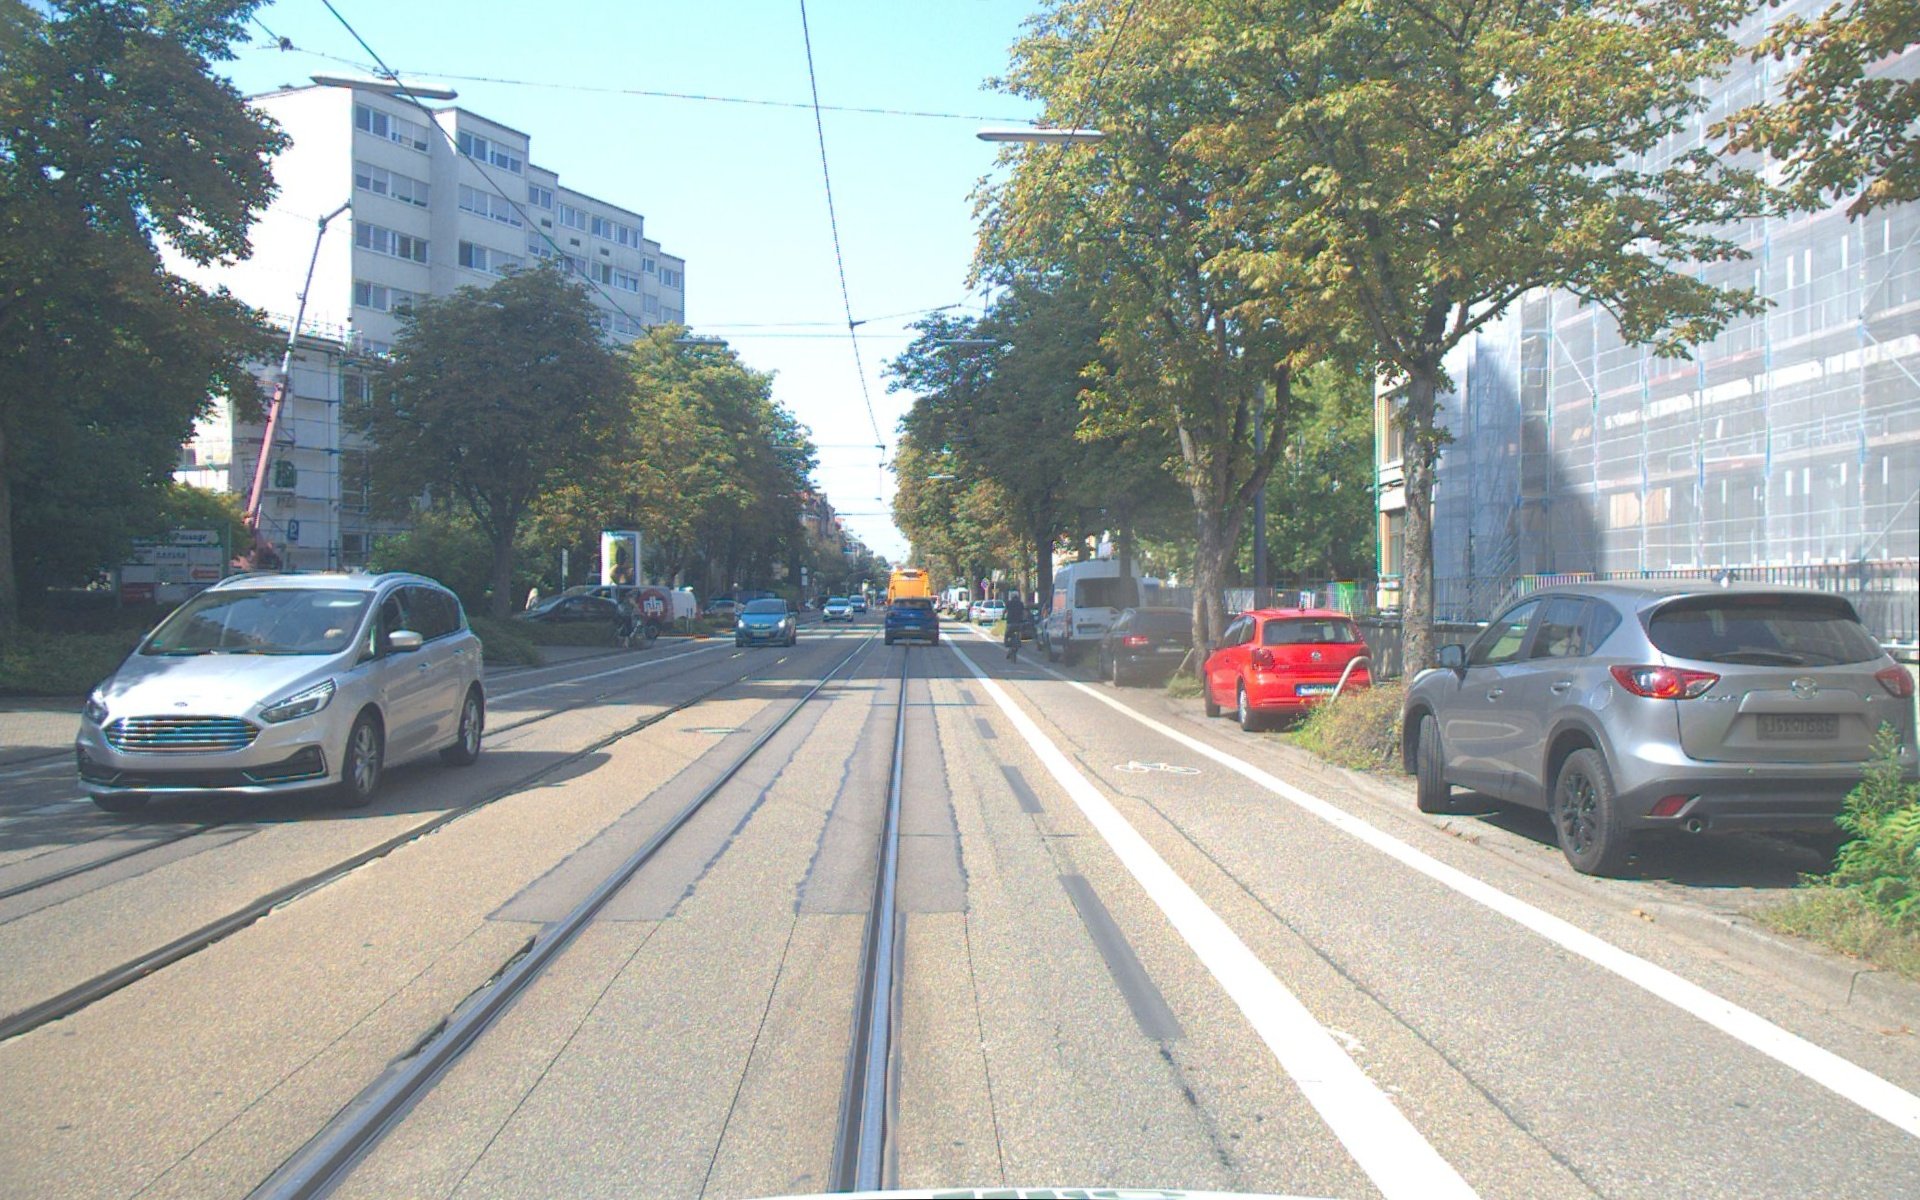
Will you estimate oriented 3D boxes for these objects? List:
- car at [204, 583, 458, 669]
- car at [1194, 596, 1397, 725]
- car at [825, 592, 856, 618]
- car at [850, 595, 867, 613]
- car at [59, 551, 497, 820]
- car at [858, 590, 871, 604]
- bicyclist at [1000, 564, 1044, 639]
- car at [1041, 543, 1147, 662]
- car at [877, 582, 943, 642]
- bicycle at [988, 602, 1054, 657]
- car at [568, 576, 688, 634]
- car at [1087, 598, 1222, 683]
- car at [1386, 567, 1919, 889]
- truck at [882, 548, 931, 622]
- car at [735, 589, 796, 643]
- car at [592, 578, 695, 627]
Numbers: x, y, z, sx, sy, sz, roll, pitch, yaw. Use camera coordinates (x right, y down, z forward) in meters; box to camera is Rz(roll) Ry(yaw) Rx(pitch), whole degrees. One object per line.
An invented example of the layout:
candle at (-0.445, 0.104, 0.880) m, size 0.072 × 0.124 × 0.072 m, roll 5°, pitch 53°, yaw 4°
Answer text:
car at (-12.291, 0.498, 32.346) m, size 4.512 × 1.580 × 1.984 m, roll 1°, pitch 0°, yaw -26°
car at (4.221, 0.710, 21.356) m, size 1.705 × 1.488 × 3.682 m, roll 1°, pitch 0°, yaw -3°
car at (-7.627, 0.323, 105.478) m, size 1.861 × 1.589 × 4.120 m, roll 1°, pitch 0°, yaw -3°
car at (-10.112, 0.398, 164.874) m, size 1.594 × 1.734 × 3.998 m, roll 1°, pitch 0°, yaw -3°
car at (-4.995, 0.543, 12.832) m, size 1.744 × 1.713 × 4.345 m, roll 1°, pitch 0°, yaw -3°
car at (-12.972, -0.378, 224.410) m, size 1.712 × 1.828 × 3.998 m, roll 1°, pitch 0°, yaw -3°
bicyclist at (1.535, 0.027, 41.249) m, size 1.011 × 1.844 × 1.016 m, roll 1°, pitch 0°, yaw -2°
car at (3.315, 0.041, 42.063) m, size 1.954 × 2.804 × 5.758 m, roll 1°, pitch 0°, yaw -3°
car at (-1.644, 0.364, 55.096) m, size 2.092 × 1.891 × 5.566 m, roll 0°, pitch 0°, yaw -2°
bicycle at (1.493, 0.709, 41.251) m, size 1.373 × 1.154 × 3.999 m, roll 0°, pitch 2°, yaw -2°
car at (-12.054, 0.191, 60.173) m, size 1.826 × 2.049 × 3.971 m, roll 1°, pitch 0°, yaw 45°
car at (3.618, 0.718, 31.478) m, size 1.870 × 1.456 × 4.290 m, roll 1°, pitch 0°, yaw -3°
car at (4.333, 0.671, 10.976) m, size 1.705 × 1.697 × 4.359 m, roll 1°, pitch 0°, yaw -3°
truck at (-2.386, -0.682, 74.554) m, size 2.092 × 3.179 × 6.083 m, roll 0°, pitch 0°, yaw -2°
car at (-6.099, 0.478, 52.187) m, size 1.601 × 1.612 × 4.186 m, roll 1°, pitch 0°, yaw -3°
car at (-13.527, 0.106, 70.797) m, size 1.826 × 2.049 × 3.971 m, roll 1°, pitch 0°, yaw 45°
